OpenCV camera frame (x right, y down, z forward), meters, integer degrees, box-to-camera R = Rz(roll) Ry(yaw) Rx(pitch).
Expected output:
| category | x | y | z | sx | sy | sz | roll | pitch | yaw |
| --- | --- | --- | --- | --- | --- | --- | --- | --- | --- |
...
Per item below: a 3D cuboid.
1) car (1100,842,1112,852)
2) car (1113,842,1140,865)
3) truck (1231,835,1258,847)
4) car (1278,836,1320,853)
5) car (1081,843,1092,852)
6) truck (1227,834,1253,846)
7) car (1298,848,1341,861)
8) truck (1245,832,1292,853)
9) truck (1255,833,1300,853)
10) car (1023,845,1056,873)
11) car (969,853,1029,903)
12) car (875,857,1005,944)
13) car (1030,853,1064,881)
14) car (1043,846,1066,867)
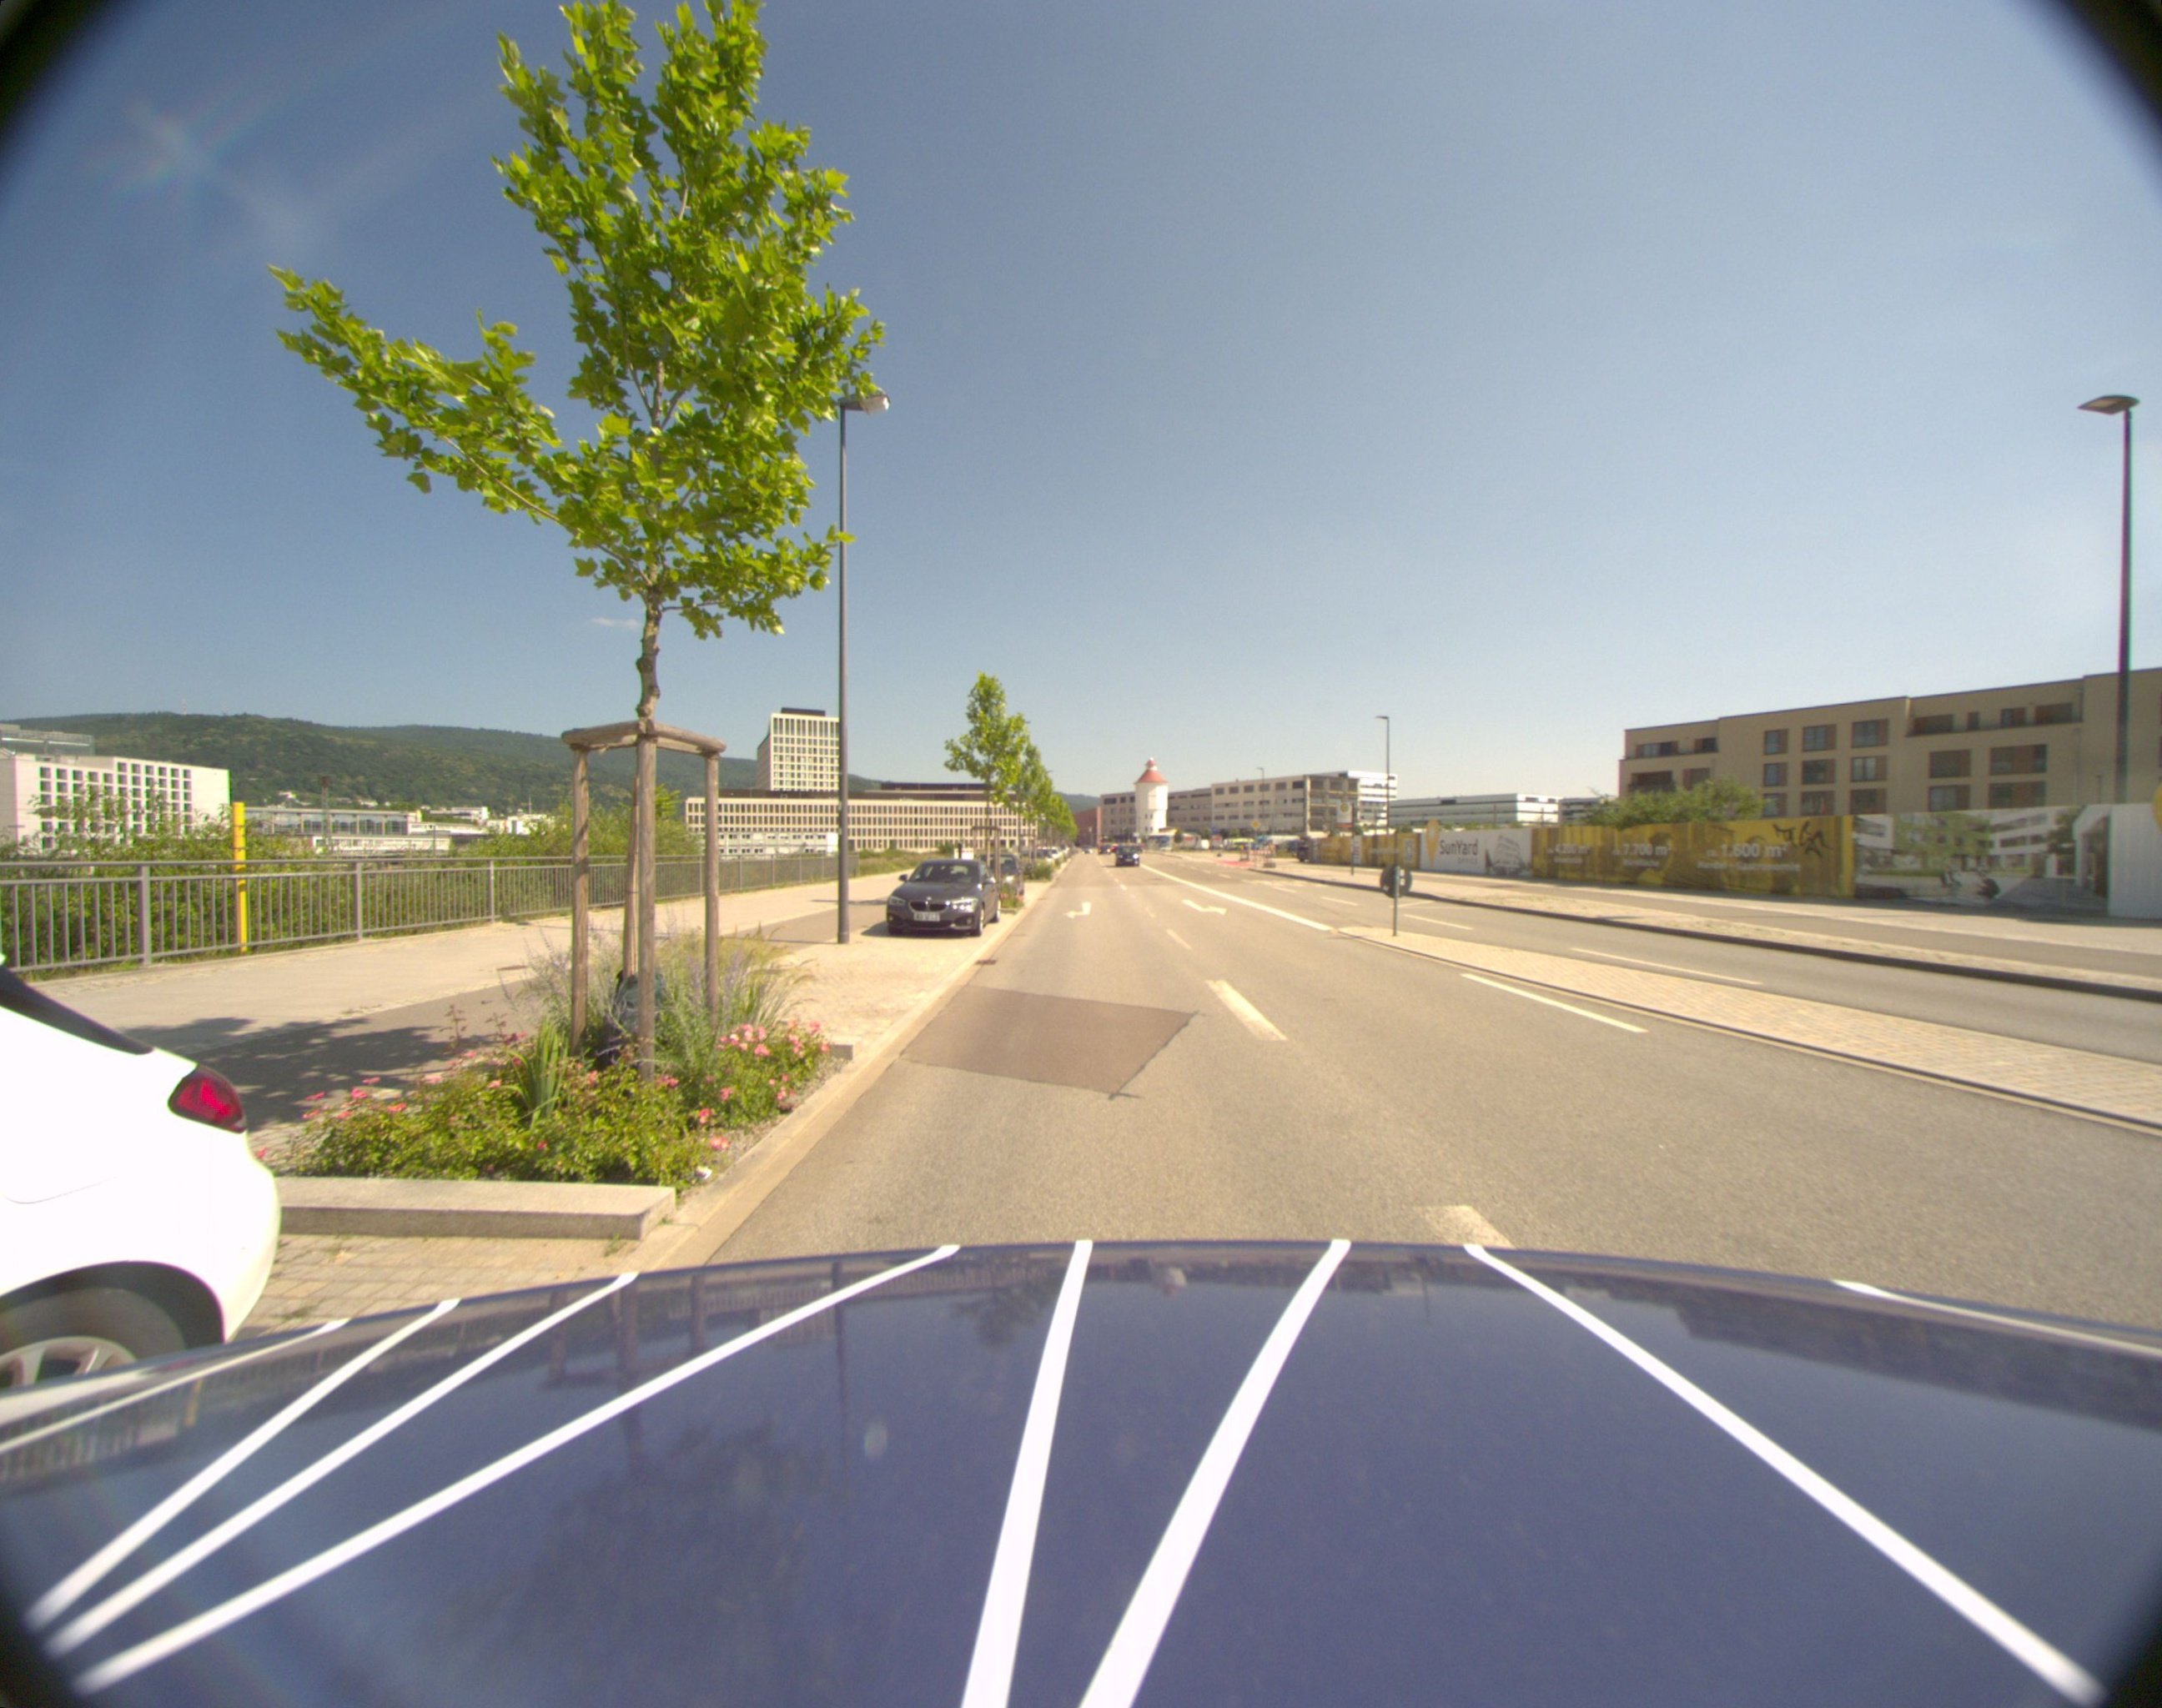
| category | x | y | z | sx | sy | sz | roll | pitch | yaw |
| --- | --- | --- | --- | --- | --- | --- | --- | --- | --- |
| car | 3.564 | -1.033 | 109.226 | 1.709 | 1.404 | 4.000 | -3 | 1 | 2 |
| car | 3.433 | -0.063 | 57.512 | 1.808 | 1.613 | 3.916 | -2 | 1 | 1 |
| truck | 35.356 | -2.788 | 164.411 | 5.332 | 2.461 | 1.999 | -2 | 1 | -3 |
| car | 23.934 | -1.073 | 83.548 | 3.930 | 1.708 | 1.891 | -2 | 1 | -4 |
| car | 0.981 | -1.114 | 131.852 | 1.819 | 1.458 | 4.347 | -3 | 0 | 2 |
| truck | 36.141 | -3.119 | 172.375 | 5.412 | 2.461 | 1.999 | -2 | 1 | -1 |
| car | 20.468 | 0.032 | 65.260 | 3.359 | 0.947 | 1.293 | -2 | 1 | 3 |
| truck | 24.765 | -1.542 | 100.524 | 5.633 | 2.461 | 1.999 | -2 | 1 | -3 |
| truck | 24.019 | -1.377 | 93.037 | 5.004 | 2.215 | 2.000 | -2 | 1 | 0 |
| car | -2.587 | 0.269 | 47.928 | 1.768 | 1.609 | 3.374 | -3 | 1 | 1 |
| car | -2.632 | 0.727 | 24.957 | 1.569 | 1.465 | 3.006 | 2 | 1 | 1 |
| car | -2.687 | 0.830 | 15.385 | 1.808 | 1.424 | 3.916 | 2 | 1 | 1 |
| car | -1.678 | 0.627 | 38.075 | 1.490 | 1.302 | 3.155 | -1 | 1 | 1 |
| car | -1.964 | 0.200 | 58.149 | 1.525 | 1.482 | 3.505 | -2 | 1 | 1 |
